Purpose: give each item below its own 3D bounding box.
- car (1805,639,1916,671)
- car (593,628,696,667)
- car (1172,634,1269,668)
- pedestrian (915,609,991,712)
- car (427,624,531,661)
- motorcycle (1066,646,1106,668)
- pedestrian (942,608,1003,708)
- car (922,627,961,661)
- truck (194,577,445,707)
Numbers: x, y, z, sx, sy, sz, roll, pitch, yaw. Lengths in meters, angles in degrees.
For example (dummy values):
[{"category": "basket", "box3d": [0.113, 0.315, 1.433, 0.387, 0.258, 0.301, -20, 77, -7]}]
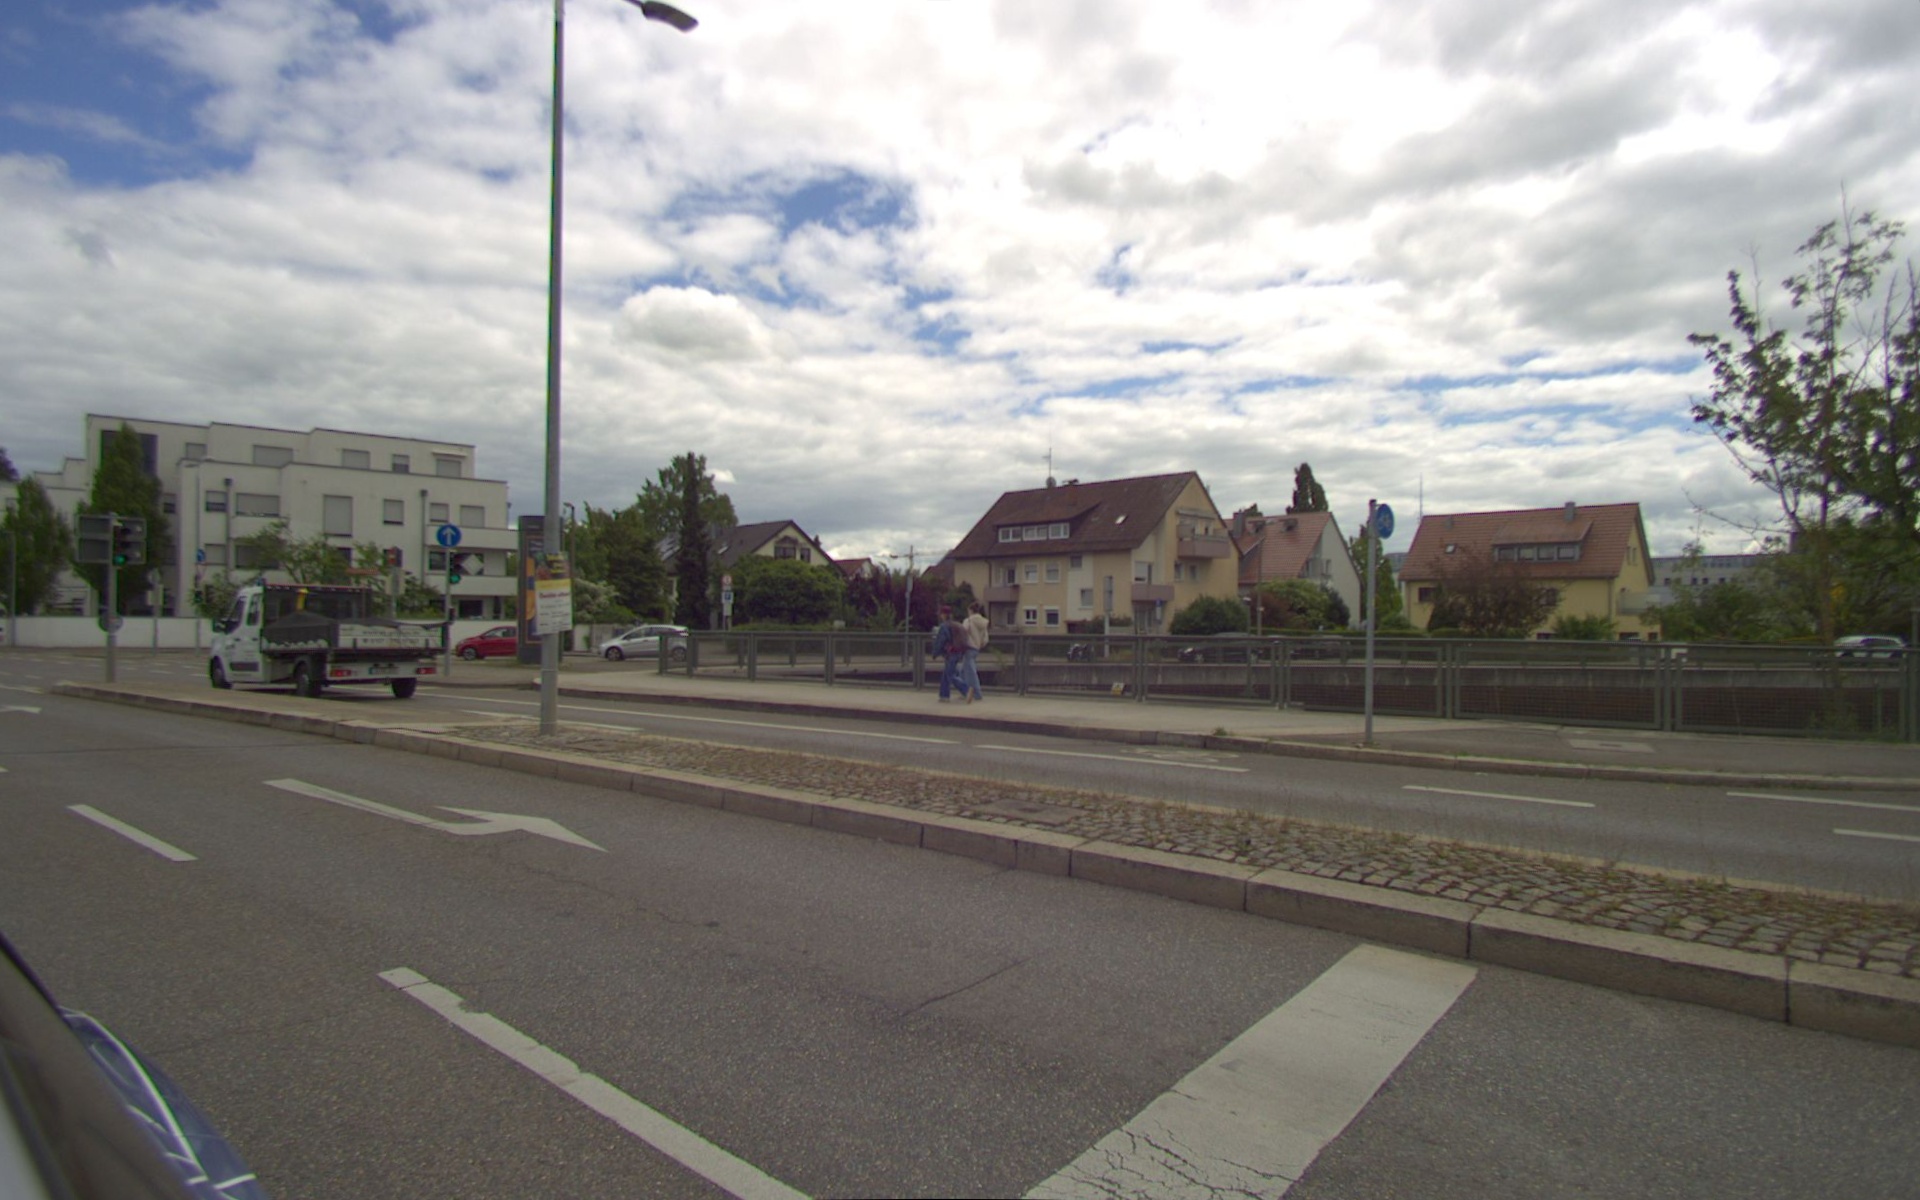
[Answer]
[{"category": "car", "box3d": [46.971, 2.850, 52.843, 4.308, 1.619, 1.903, 1, -2, -7]}, {"category": "car", "box3d": [-13.706, 2.073, 44.200, 4.064, 1.547, 1.650, 2, -3, -9]}, {"category": "car", "box3d": [13.190, 2.574, 51.305, 4.308, 1.619, 2.003, 1, -2, -7]}, {"category": "pedestrian", "box3d": [-0.117, 0.970, 16.644, 1.066, 1.646, 0.651, -1, -1, 30]}, {"category": "car", "box3d": [-20.563, 1.802, 43.371, 3.643, 1.458, 1.779, 2, -2, -11]}, {"category": "motorcycle", "box3d": [6.258, 2.843, 50.493, 0.691, 1.007, 2.127, 6, -5, -35]}, {"category": "pedestrian", "box3d": [0.219, 0.969, 17.236, 0.830, 1.646, 0.651, -1, -1, 30]}, {"category": "car", "box3d": [-1.070, 2.380, 55.777, 1.759, 1.592, 4.005, -2, 1, -6]}, {"category": "truck", "box3d": [-13.209, 0.804, 20.629, 6.796, 2.282, 2.105, -1, -2, 38]}]
